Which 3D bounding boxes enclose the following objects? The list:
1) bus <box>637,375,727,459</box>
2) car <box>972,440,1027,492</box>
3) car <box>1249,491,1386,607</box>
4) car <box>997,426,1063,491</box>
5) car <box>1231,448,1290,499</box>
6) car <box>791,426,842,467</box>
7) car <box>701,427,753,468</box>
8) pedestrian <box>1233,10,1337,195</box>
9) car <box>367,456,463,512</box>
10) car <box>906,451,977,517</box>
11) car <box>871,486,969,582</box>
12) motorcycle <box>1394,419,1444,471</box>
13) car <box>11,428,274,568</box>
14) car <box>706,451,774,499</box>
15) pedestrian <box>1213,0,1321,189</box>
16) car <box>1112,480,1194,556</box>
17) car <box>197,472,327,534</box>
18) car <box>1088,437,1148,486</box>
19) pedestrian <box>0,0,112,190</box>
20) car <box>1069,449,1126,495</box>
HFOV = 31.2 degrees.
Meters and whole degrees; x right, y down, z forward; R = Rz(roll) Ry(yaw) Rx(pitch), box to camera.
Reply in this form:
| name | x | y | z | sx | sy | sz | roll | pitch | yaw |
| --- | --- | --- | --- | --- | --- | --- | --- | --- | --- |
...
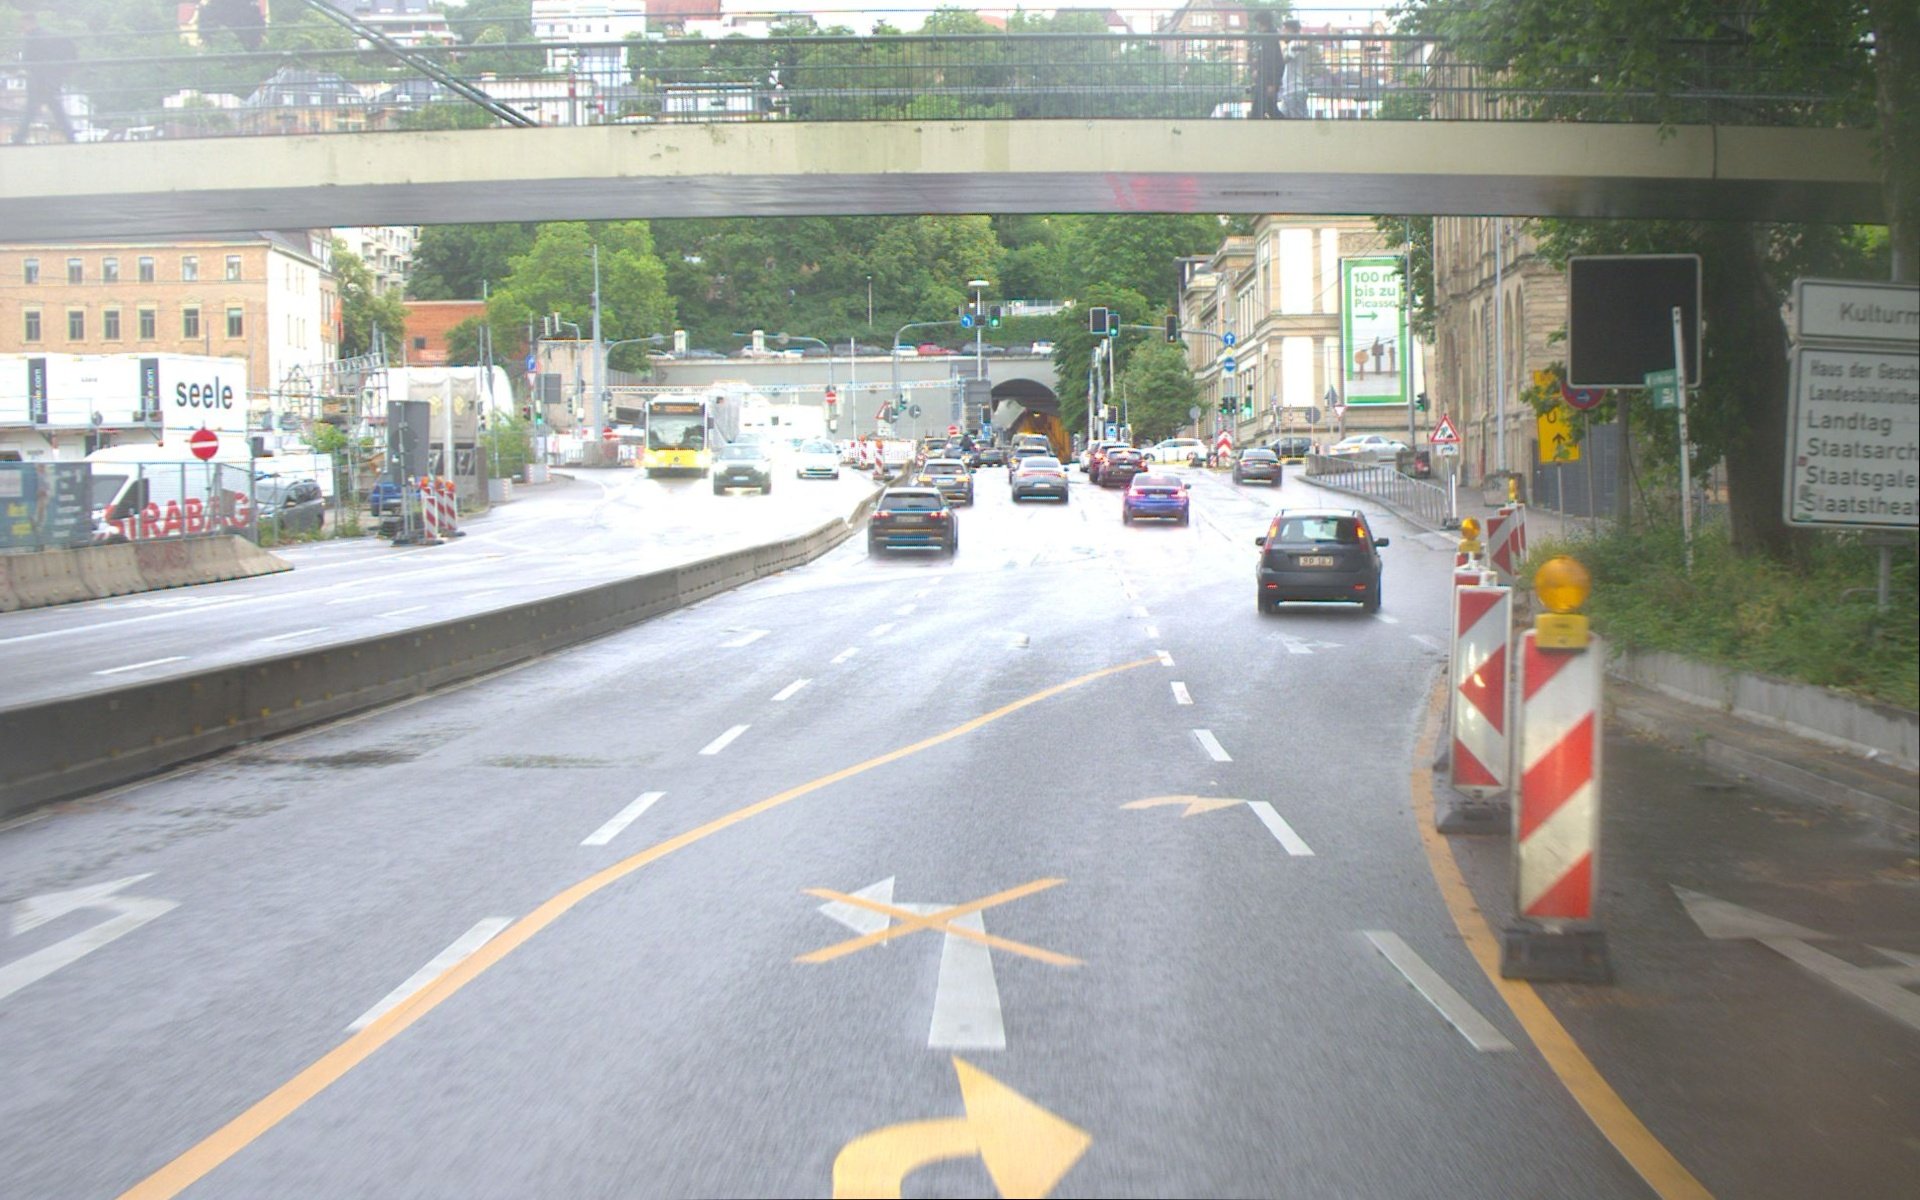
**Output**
| name | x | y | z | sx | sy | sz | roll | pitch | yaw |
| --- | --- | --- | --- | --- | --- | --- | --- | --- | --- |
| bus | -11.251 | -7.387 | 139.787 | 2.806 | 3.173 | 8.808 | -1 | 2 | 1 |
| car | 1.523 | -5.198 | 133.631 | 1.993 | 1.863 | 4.000 | -1 | 1 | -1 |
| car | 5.032 | -0.733 | 48.503 | 1.812 | 1.521 | 3.999 | -2 | 1 | 6 |
| car | 2.307 | -4.697 | 114.574 | 2.051 | 2.007 | 4.000 | -1 | 1 | 0 |
| car | 12.051 | -5.099 | 138.104 | 1.993 | 2.006 | 4.001 | 0 | 2 | 0 |
| car | -5.700 | -6.094 | 136.800 | 1.709 | 1.484 | 3.450 | -1 | 1 | 2 |
| car | -10.359 | -6.762 | 152.841 | 2.039 | 1.656 | 4.933 | -1 | 1 | -1 |
| pedestrian | 3.934 | -5.996 | 41.551 | 1.148 | 2.053 | 1.059 | -1 | 1 | 9 |
| car | -16.762 | -3.592 | 105.949 | 1.994 | 1.616 | 4.000 | -1 | 3 | 5 |
| car | -0.564 | -3.714 | 110.314 | 1.994 | 2.007 | 4.000 | -1 | 1 | 3 |
| car | -0.858 | -1.440 | 75.733 | 2.017 | 2.007 | 4.000 | -1 | 1 | 1 |
| motorcycle | 18.515 | -6.282 | 138.734 | 1.795 | 2.006 | 3.813 | -1 | 3 | 5 |
| car | -17.643 | -2.199 | 74.565 | 1.996 | 2.865 | 6.043 | -1 | 1 | 28 |
| car | -7.756 | -4.438 | 121.785 | 2.081 | 1.625 | 4.853 | -1 | 2 | 0 |
| pedestrian | 3.630 | -5.955 | 40.549 | 1.148 | 2.053 | 1.059 | -1 | 1 | 9 |
| car | 5.438 | -2.308 | 97.316 | 2.105 | 2.043 | 4.000 | -1 | 1 | 1 |
| car | -18.570 | -2.568 | 91.673 | 1.762 | 1.560 | 4.681 | -1 | 1 | 10 |
| car | 6.018 | -5.277 | 131.257 | 1.993 | 1.693 | 4.000 | -1 | 1 | -1 |
| pedestrian | -10.620 | -5.858 | 39.878 | 1.148 | 2.053 | 1.059 | -1 | 1 | 9 |
| car | 5.469 | -5.105 | 137.571 | 1.993 | 1.693 | 4.000 | -1 | 1 | -1 |
